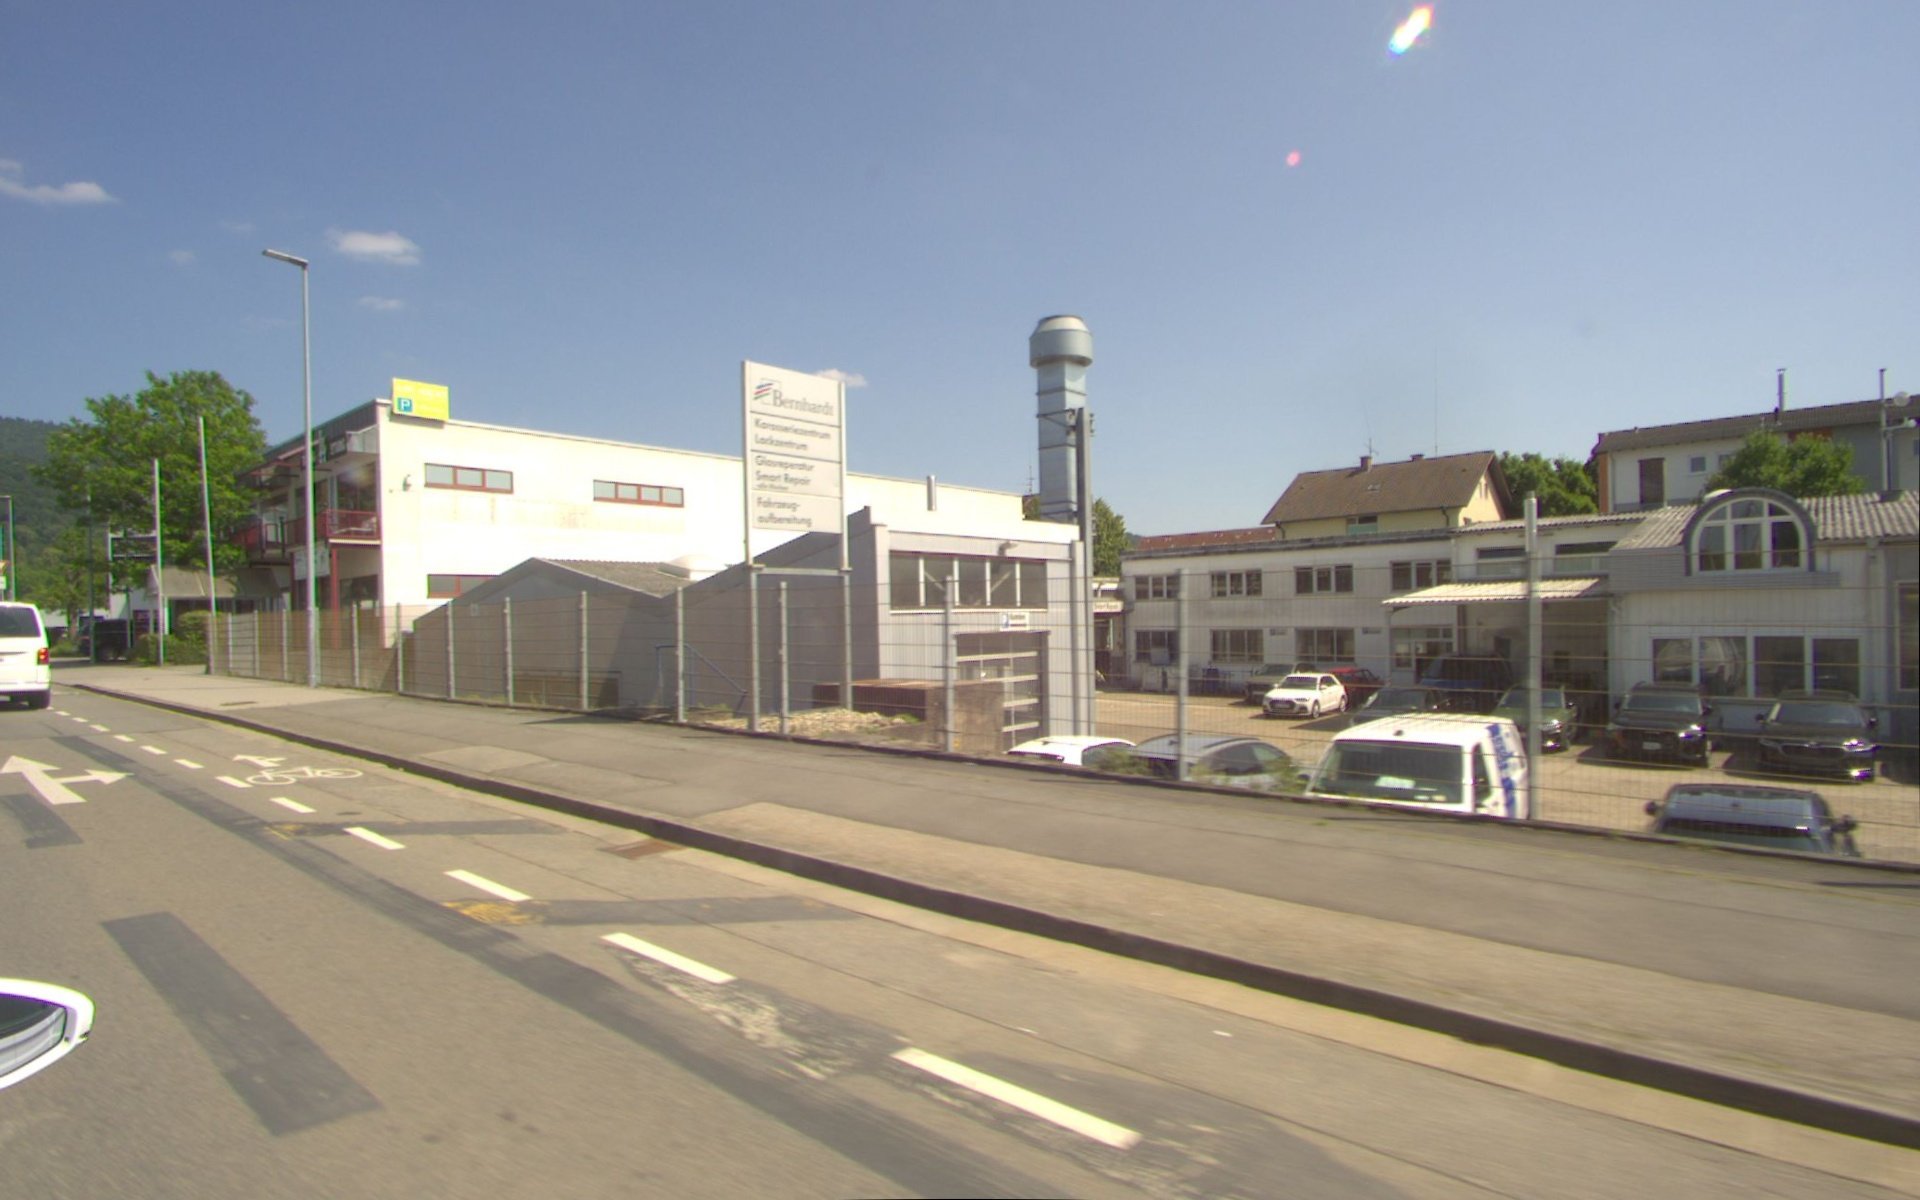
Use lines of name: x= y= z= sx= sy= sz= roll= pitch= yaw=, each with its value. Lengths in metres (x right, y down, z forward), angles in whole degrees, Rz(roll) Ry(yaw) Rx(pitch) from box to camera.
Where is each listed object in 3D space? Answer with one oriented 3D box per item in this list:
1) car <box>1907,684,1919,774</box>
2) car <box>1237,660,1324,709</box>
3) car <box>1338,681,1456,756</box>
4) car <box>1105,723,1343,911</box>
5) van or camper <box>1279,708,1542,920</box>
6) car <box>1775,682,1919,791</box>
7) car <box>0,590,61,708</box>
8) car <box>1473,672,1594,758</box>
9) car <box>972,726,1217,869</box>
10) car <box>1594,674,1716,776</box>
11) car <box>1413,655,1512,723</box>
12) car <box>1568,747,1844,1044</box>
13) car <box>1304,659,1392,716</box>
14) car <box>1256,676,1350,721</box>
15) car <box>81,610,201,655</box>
car: x=19.616 y=2.578 z=19.021 sx=1.977 sy=1.683 sz=3.970 roll=-3 pitch=-2 yaw=39
car: x=12.531 y=3.242 z=39.024 sx=1.976 sy=1.727 sz=3.973 roll=0 pitch=-3 yaw=39
car: x=11.448 y=3.001 z=26.099 sx=1.824 sy=1.535 sz=3.970 roll=-3 pitch=-2 yaw=39
car: x=3.962 y=2.969 z=14.617 sx=1.830 sy=2.039 sz=3.971 roll=-1 pitch=-3 yaw=40
van or camper: x=5.576 y=2.330 z=12.072 sx=1.995 sy=1.672 sz=4.298 roll=-1 pitch=-1 yaw=37
car: x=17.724 y=2.631 z=20.134 sx=1.977 sy=1.683 sz=3.970 roll=-3 pitch=-2 yaw=39
car: x=-18.800 y=0.891 z=19.086 sx=4.491 sy=2.086 sz=1.926 roll=-1 pitch=-1 yaw=41
car: x=14.328 y=2.770 z=24.923 sx=1.842 sy=1.684 sz=3.966 roll=-1 pitch=0 yaw=41
car: x=2.356 y=3.209 z=17.015 sx=3.957 sy=1.852 sz=1.984 roll=3 pitch=-3 yaw=-40
car: x=15.539 y=2.679 z=22.305 sx=1.976 sy=1.684 sz=3.969 roll=-1 pitch=1 yaw=39
car: x=15.505 y=2.667 z=30.804 sx=1.893 sy=1.880 sz=3.971 roll=-2 pitch=-3 yaw=40
car: x=7.854 y=2.765 z=10.463 sx=1.977 sy=2.039 sz=3.971 roll=-1 pitch=-3 yaw=40
car: x=14.742 y=3.276 z=37.957 sx=1.977 sy=2.038 sz=3.973 roll=-3 pitch=-5 yaw=39
car: x=11.737 y=3.310 z=34.191 sx=1.849 sy=1.421 sz=3.810 roll=-3 pitch=-5 yaw=39
car: x=-35.665 y=1.369 z=43.641 sx=3.958 sy=1.799 sz=1.982 roll=-1 pitch=0 yaw=-42
